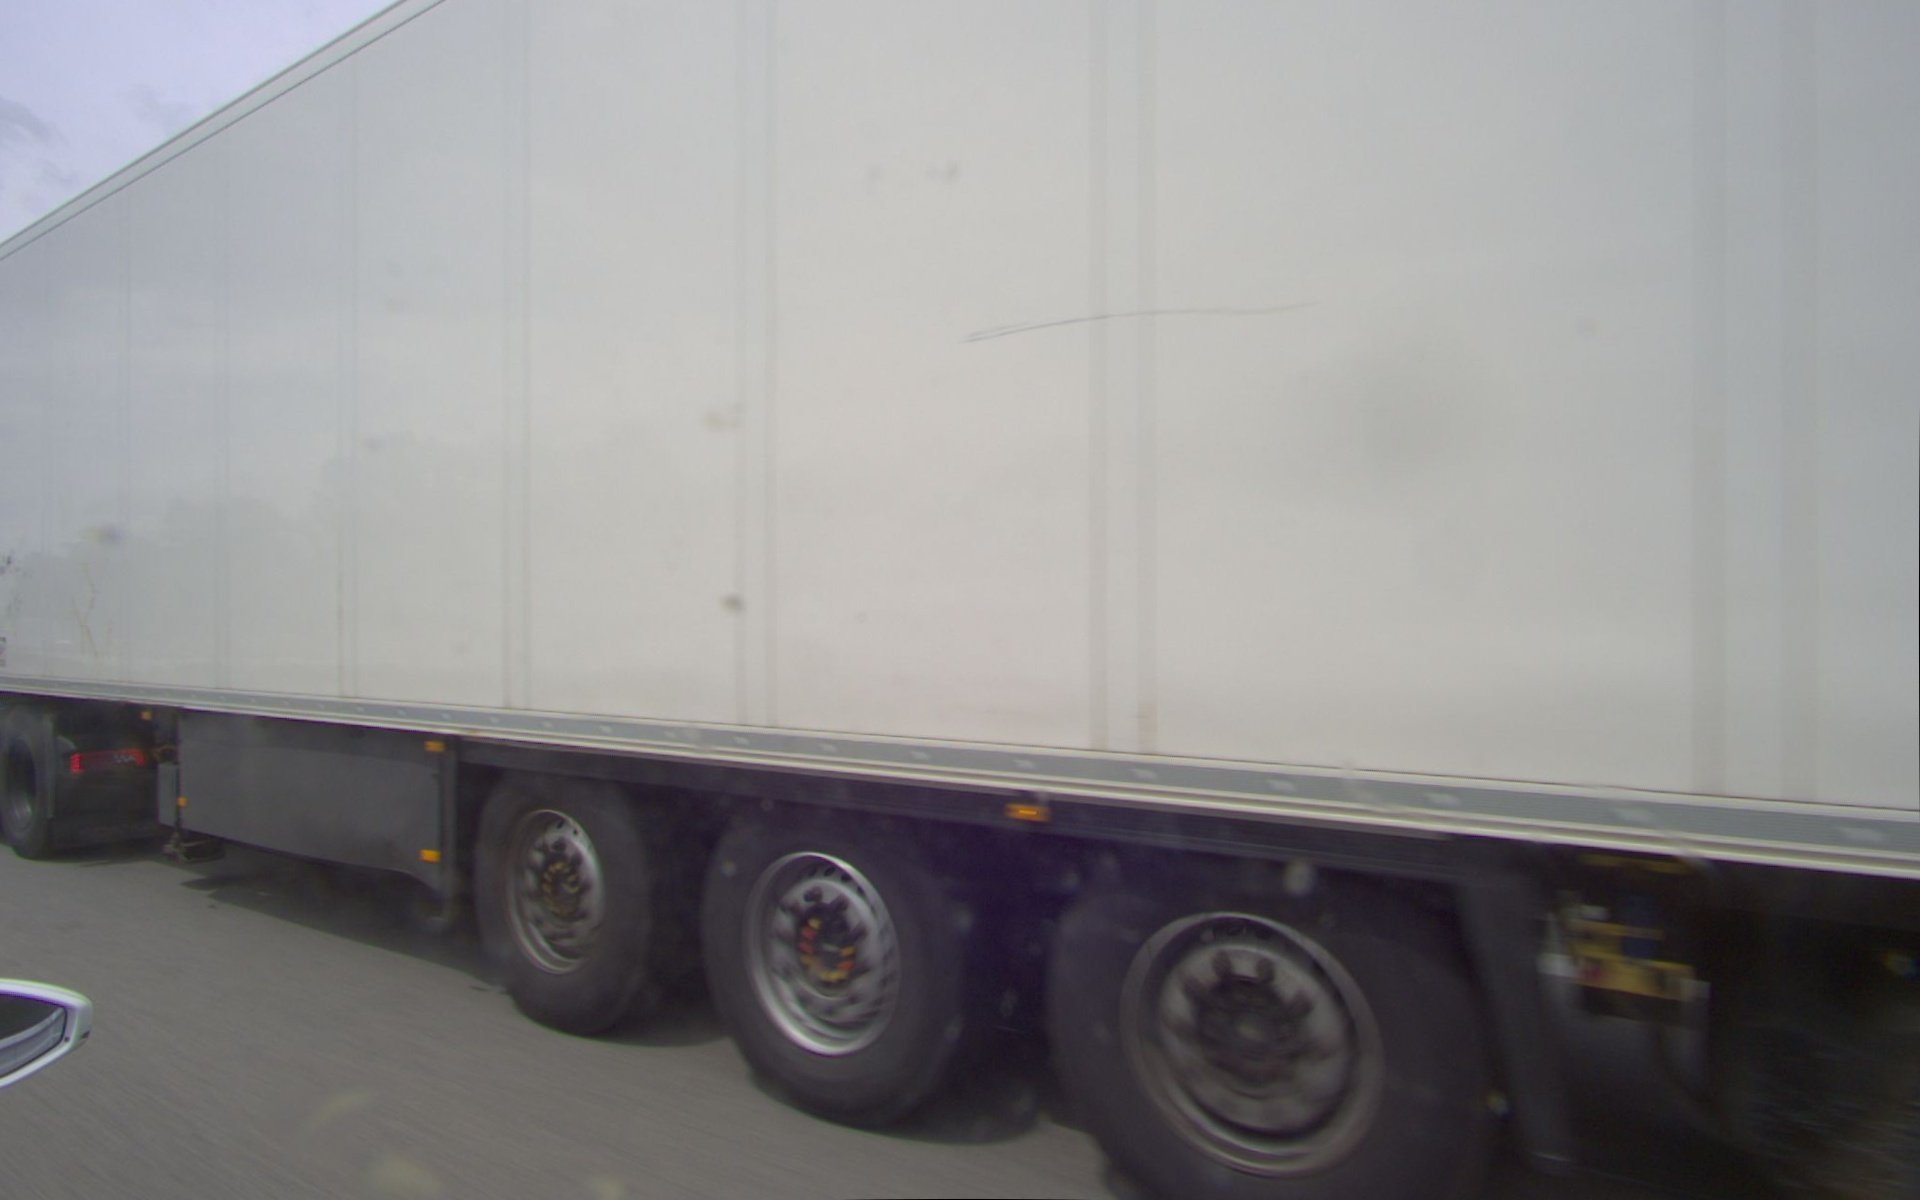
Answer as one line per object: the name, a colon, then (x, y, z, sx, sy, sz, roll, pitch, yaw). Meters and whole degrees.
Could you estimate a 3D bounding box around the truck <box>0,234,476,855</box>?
truck: (-7.645, -0.274, 9.247, 5.914, 3.941, 3.057, -1, -2, 32)

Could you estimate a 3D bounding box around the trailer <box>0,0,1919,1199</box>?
trailer: (-2.209, -0.375, 5.741, 13.594, 3.940, 3.057, -1, -2, 33)
